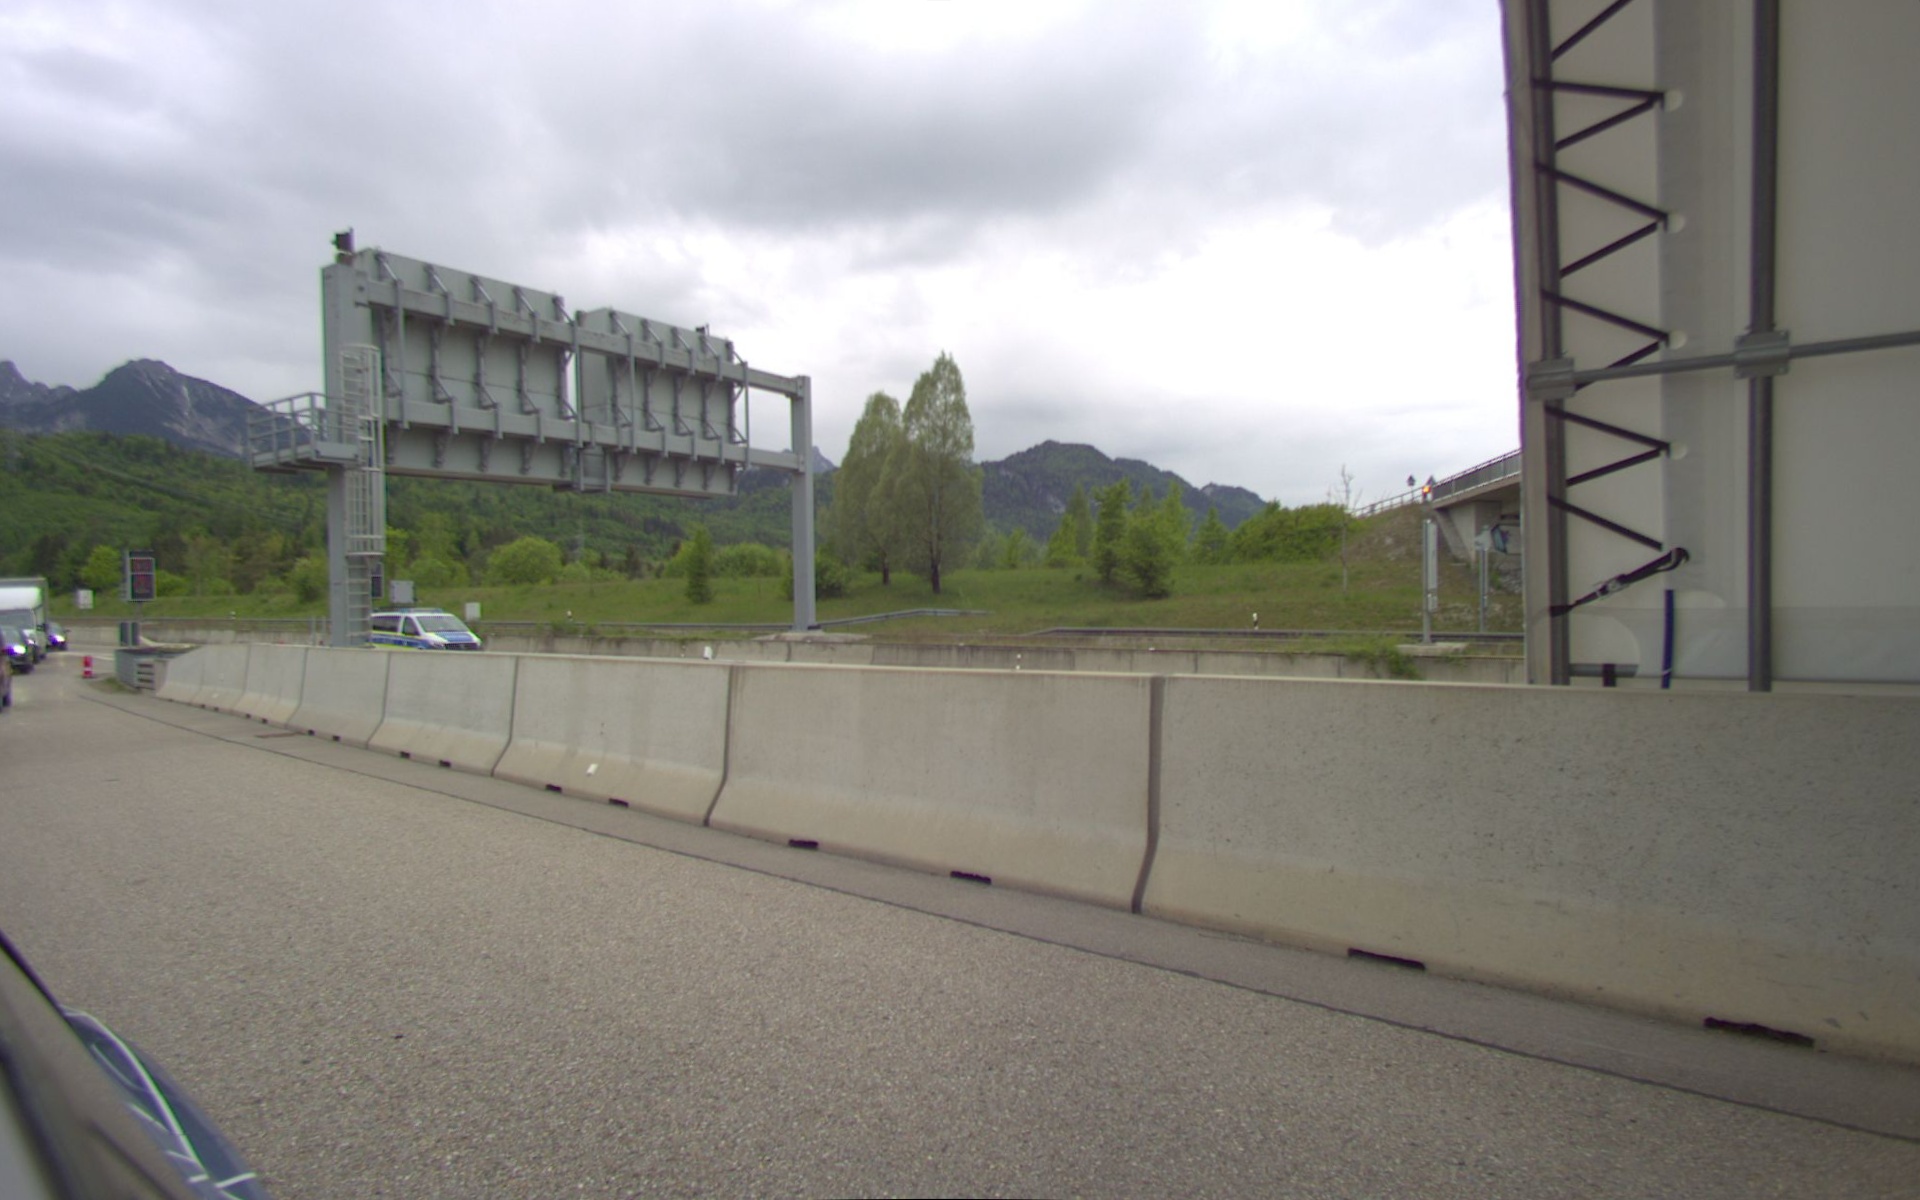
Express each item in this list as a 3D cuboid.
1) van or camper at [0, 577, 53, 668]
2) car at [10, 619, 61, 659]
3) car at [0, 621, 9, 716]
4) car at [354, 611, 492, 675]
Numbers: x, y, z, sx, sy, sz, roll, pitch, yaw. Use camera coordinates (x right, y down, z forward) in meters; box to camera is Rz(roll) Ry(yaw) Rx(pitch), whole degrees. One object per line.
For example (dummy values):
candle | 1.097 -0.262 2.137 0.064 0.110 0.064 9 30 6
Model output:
van or camper | -38.548 0.895 40.853 2.543 3.417 7.368 1 -2 -40
car | -45.316 1.871 49.562 1.717 1.778 4.004 -3 1 -43
car | -18.361 1.247 18.292 1.568 1.684 4.005 1 -2 -42
car | -18.303 1.422 34.435 5.040 2.029 2.080 -1 -1 35
